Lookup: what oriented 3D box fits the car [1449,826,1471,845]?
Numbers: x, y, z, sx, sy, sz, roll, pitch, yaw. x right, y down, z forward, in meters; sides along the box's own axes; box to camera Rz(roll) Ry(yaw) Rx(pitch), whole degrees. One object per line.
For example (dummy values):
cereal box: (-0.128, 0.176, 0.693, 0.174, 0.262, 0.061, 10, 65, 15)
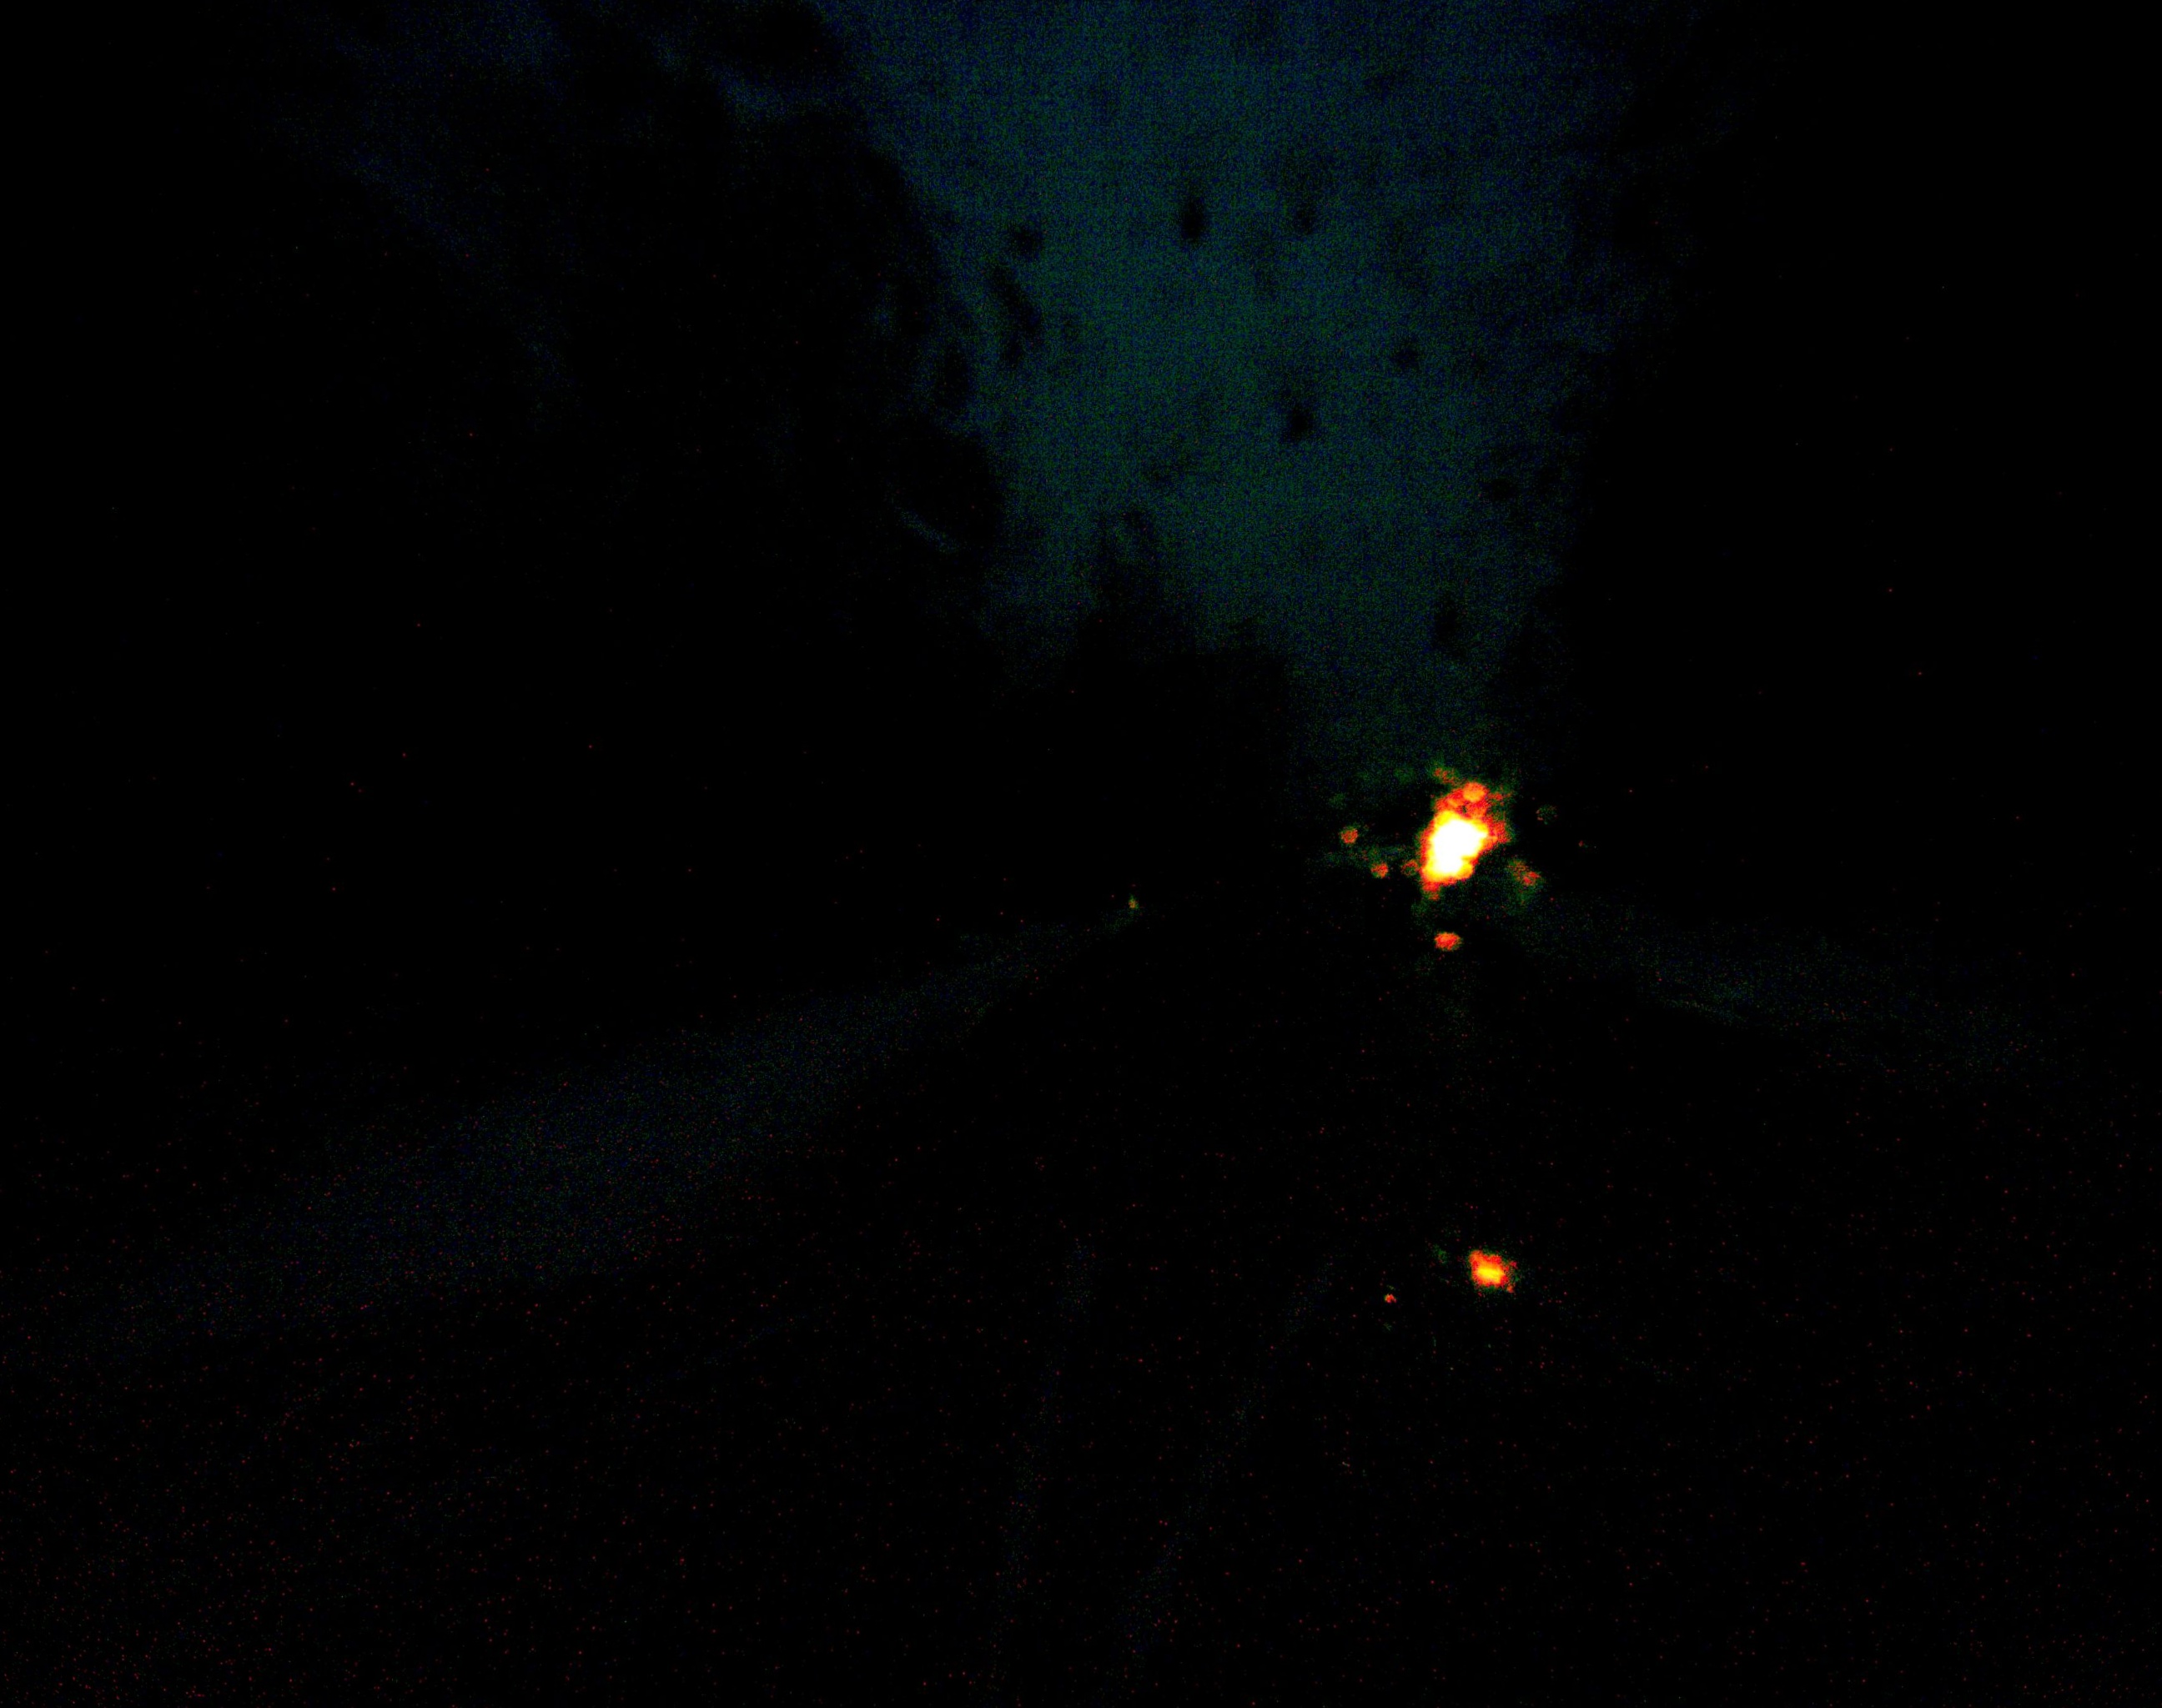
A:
car: (46.057, -2.278, 92.364, 1.996, 2.002, 4.005, -7, 1, 25)
